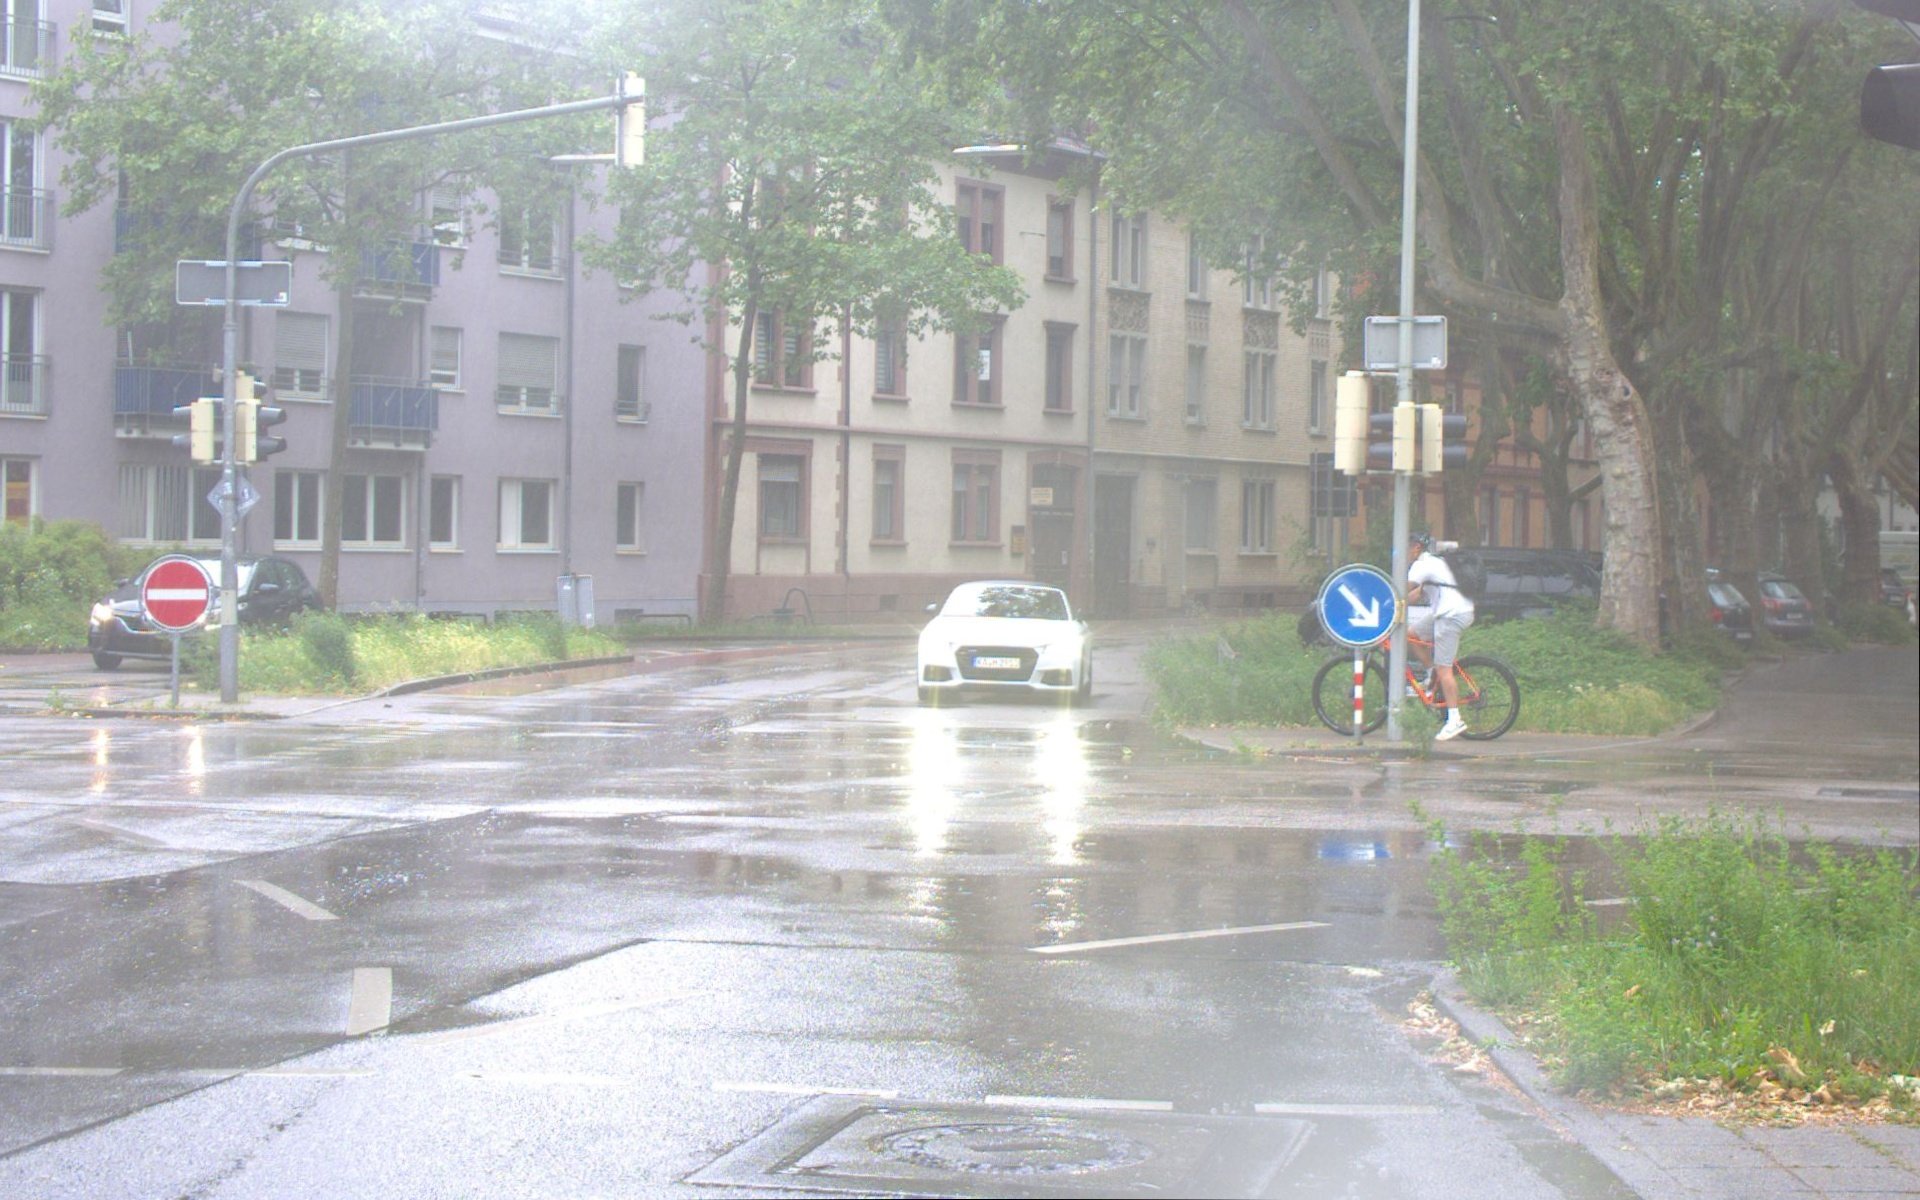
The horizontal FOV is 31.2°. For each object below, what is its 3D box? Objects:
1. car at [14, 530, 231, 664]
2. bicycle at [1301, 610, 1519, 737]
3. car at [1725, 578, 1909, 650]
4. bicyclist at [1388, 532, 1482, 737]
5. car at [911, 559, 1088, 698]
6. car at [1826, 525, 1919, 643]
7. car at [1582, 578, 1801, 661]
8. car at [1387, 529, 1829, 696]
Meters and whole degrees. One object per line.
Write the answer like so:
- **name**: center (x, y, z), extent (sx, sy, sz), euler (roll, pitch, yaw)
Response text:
- **car**: center (-10.050, -0.068, 41.506), extent (1.751, 1.506, 3.839), euler (1, 1, -2)
- **bicycle**: center (3.976, 0.642, 30.400), extent (1.873, 1.077, 0.657), euler (1, 0, 8)
- **car**: center (19.572, 0.305, 78.661), extent (3.989, 1.542, 1.999), euler (1, 1, 12)
- **bicyclist**: center (4.192, 0.294, 30.371), extent (0.795, 1.780, 0.697), euler (1, 0, 8)
- **car**: center (0.483, 0.281, 39.125), extent (1.884, 1.431, 4.000), euler (1, 1, 2)
- **car**: center (24.393, -0.416, 87.722), extent (2.033, 2.938, 4.773), euler (1, 1, -21)
- **car**: center (13.922, 0.349, 65.467), extent (3.989, 1.481, 1.999), euler (1, 1, 12)
- **car**: center (6.164, 0.099, 32.711), extent (3.989, 1.481, 1.999), euler (1, 1, 12)
